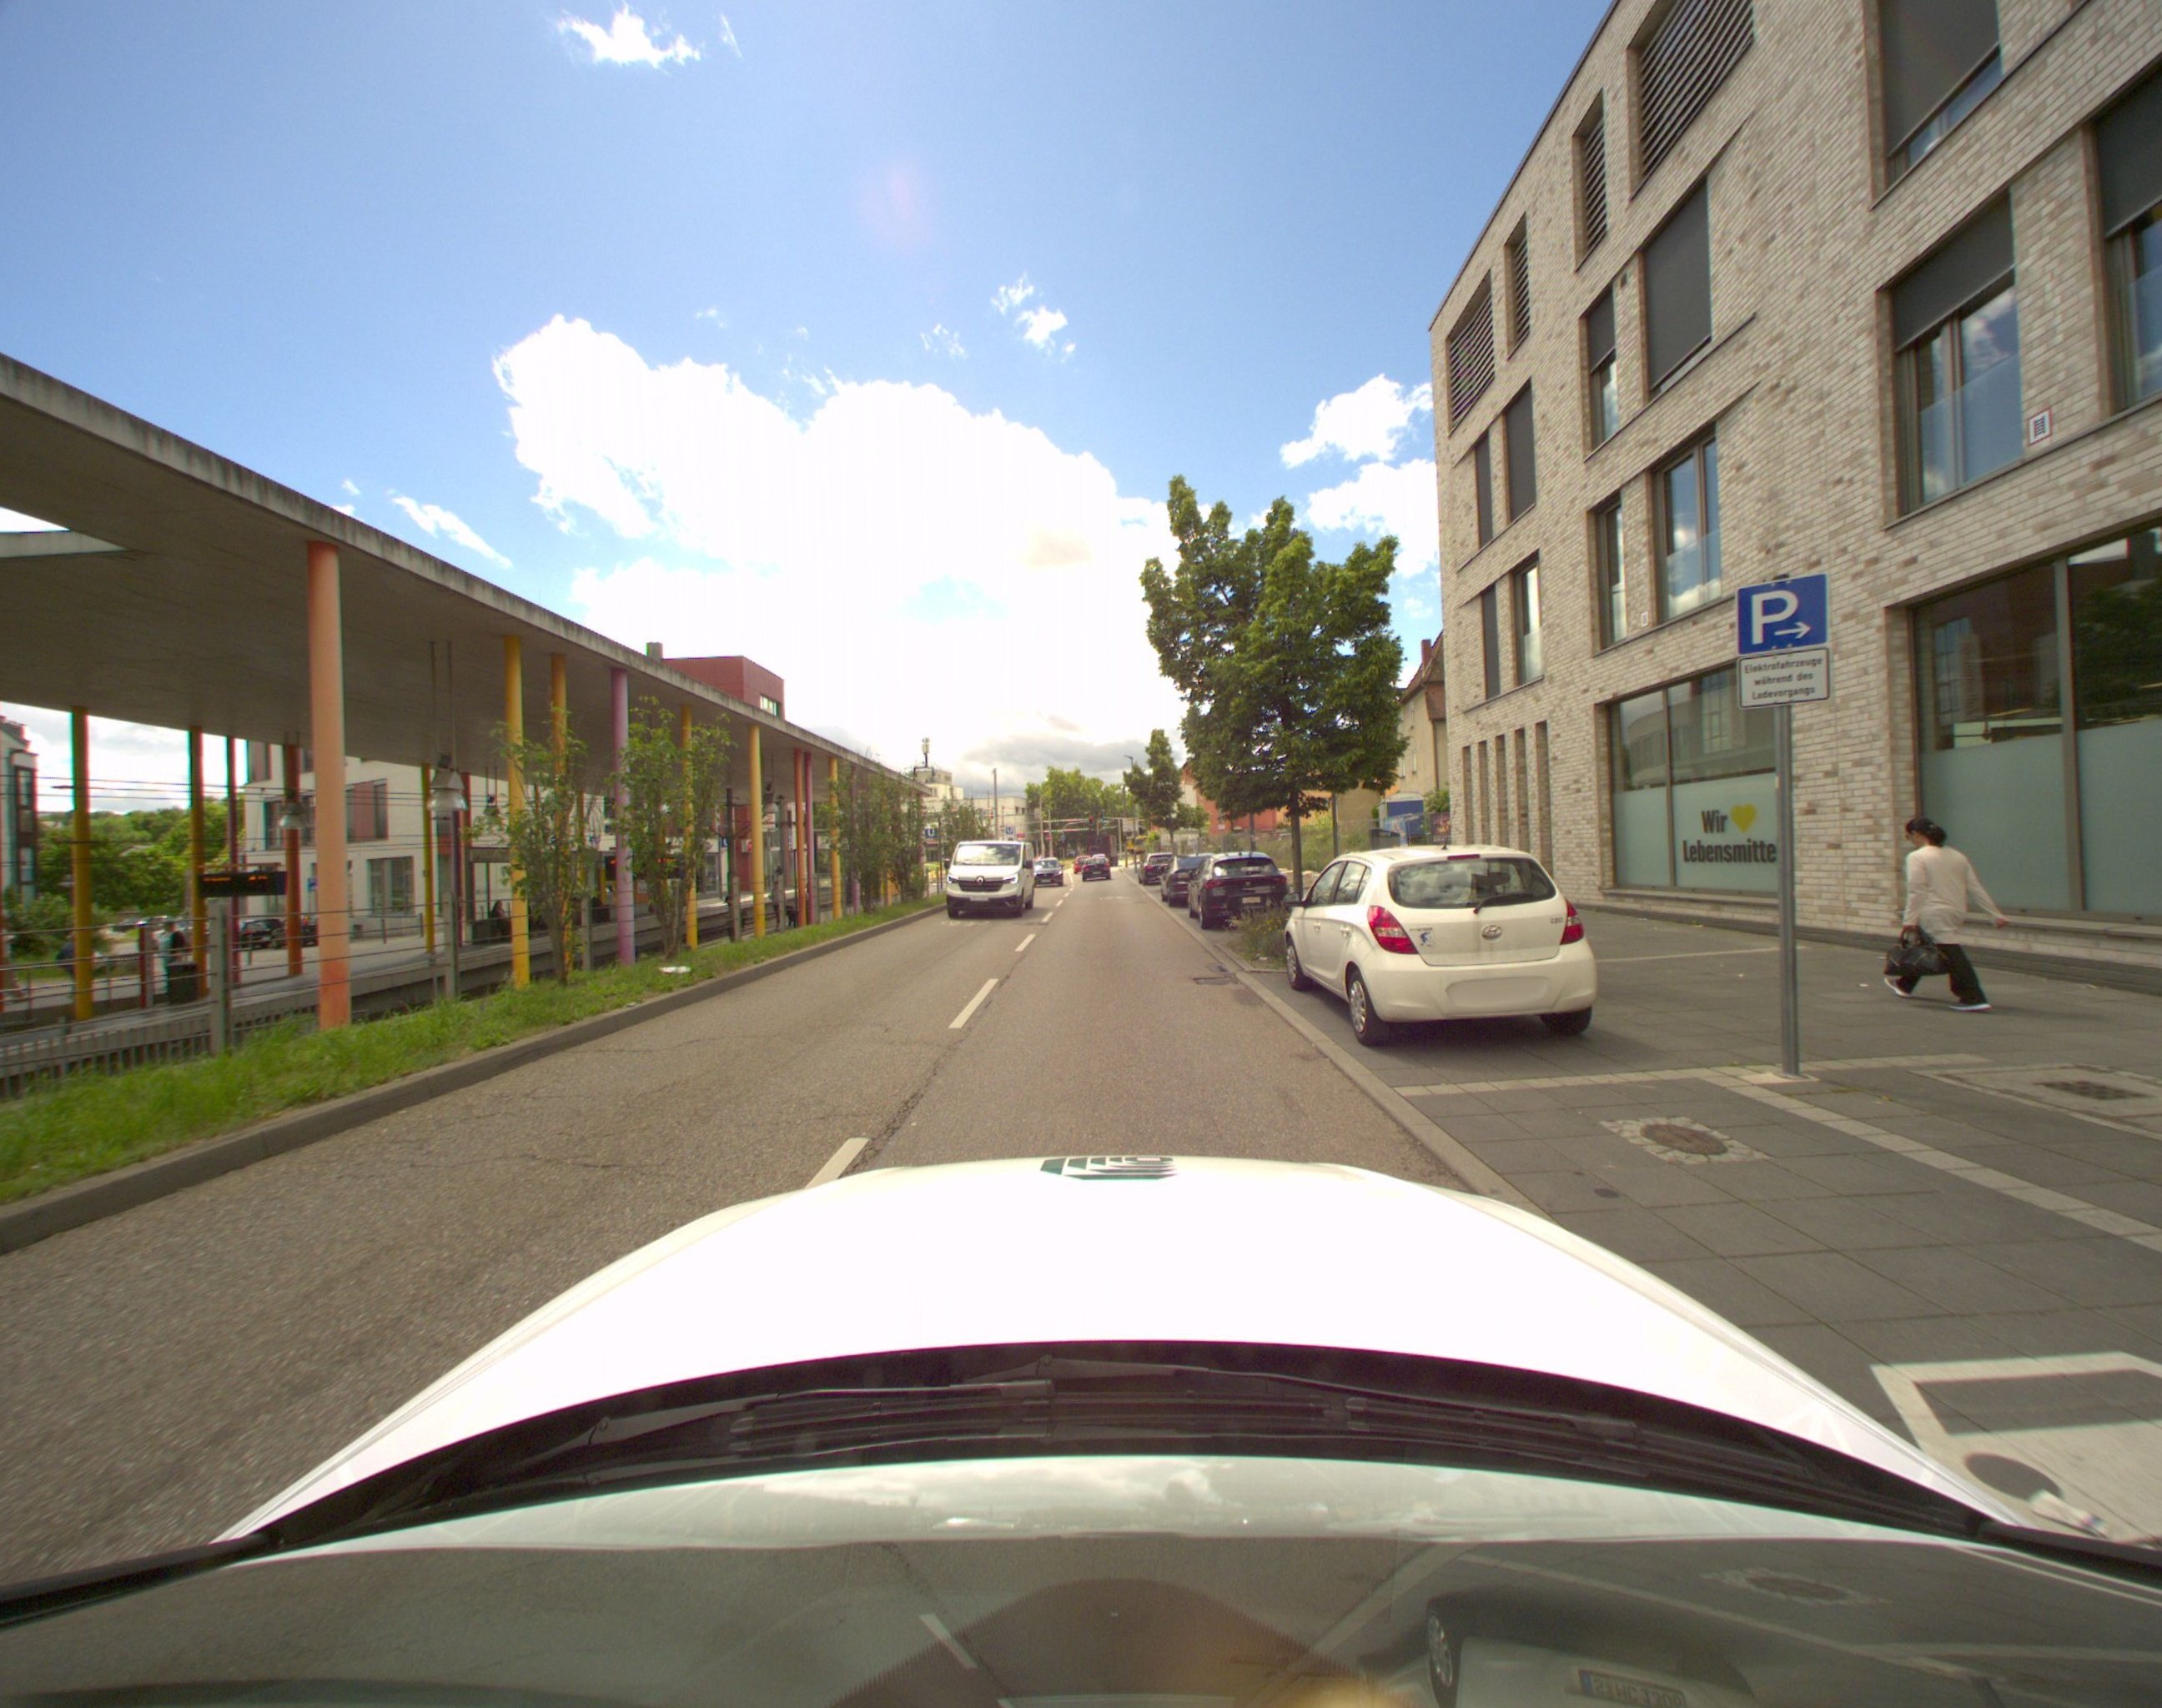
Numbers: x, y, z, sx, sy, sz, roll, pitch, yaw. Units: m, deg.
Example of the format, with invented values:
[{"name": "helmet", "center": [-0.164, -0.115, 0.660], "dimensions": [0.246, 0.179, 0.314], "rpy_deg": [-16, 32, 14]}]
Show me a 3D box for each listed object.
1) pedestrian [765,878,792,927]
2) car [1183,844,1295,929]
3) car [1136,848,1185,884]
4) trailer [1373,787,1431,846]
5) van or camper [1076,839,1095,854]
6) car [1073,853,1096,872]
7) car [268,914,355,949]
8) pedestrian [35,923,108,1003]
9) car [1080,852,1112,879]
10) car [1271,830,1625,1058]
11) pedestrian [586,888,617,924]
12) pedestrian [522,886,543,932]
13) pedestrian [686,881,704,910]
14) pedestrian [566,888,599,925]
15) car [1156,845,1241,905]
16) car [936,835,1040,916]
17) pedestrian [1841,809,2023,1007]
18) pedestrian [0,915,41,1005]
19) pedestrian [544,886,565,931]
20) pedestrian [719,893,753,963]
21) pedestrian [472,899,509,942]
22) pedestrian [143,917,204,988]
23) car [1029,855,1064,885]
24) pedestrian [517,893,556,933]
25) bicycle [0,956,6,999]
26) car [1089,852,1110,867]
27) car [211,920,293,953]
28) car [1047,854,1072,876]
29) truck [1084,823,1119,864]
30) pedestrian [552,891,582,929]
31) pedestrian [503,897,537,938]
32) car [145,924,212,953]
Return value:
[{"name": "pedestrian", "center": [-10.469, 1.672, 28.201], "dimensions": [0.627, 1.614, 0.636], "rpy_deg": [-1, 1, 2]}, {"name": "car", "center": [3.188, 0.599, 17.135], "dimensions": [1.685, 1.461, 4.150], "rpy_deg": [-4, 0, 3]}, {"name": "car", "center": [3.663, 0.520, 38.230], "dimensions": [1.776, 1.451, 4.475], "rpy_deg": [-4, 0, 0]}, {"name": "trailer", "center": [19.227, -2.159, 49.024], "dimensions": [2.386, 3.122, 6.186], "rpy_deg": [-4, 0, 15]}, {"name": "van or camper", "center": [1.005, -1.605, 167.790], "dimensions": [2.158, 2.805, 6.096], "rpy_deg": [-2, -2, 18]}, {"name": "car", "center": [0.262, 0.683, 67.672], "dimensions": [1.708, 1.393, 3.804], "rpy_deg": [-3, 0, -3]}, {"name": "car", "center": [-35.643, 3.573, 37.703], "dimensions": [3.672, 1.325, 1.657], "rpy_deg": [-6, -4, 24]}, {"name": "pedestrian", "center": [-21.976, 2.358, 17.742], "dimensions": [0.639, 1.662, 0.730], "rpy_deg": [-1, -2, 1]}, {"name": "car", "center": [0.874, 0.676, 49.892], "dimensions": [1.722, 1.456, 3.806], "rpy_deg": [-3, 0, -1]}, {"name": "car", "center": [2.978, 0.626, 7.546], "dimensions": [1.685, 1.483, 3.801], "rpy_deg": [-4, 0, 3]}, {"name": "pedestrian", "center": [-19.417, 2.110, 32.976], "dimensions": [0.819, 1.379, 0.702], "rpy_deg": [-1, 1, 2]}, {"name": "pedestrian", "center": [-22.215, 2.234, 33.003], "dimensions": [0.481, 1.820, 0.492], "rpy_deg": [-1, 1, -1]}, {"name": "pedestrian", "center": [-22.652, 2.414, 47.778], "dimensions": [0.654, 1.650, 0.843], "rpy_deg": [-1, -2, 1]}, {"name": "pedestrian", "center": [-19.538, 2.064, 31.945], "dimensions": [0.819, 1.379, 0.702], "rpy_deg": [-1, 1, 2]}, {"name": "car", "center": [3.284, 0.559, 23.572], "dimensions": [1.858, 1.451, 4.645], "rpy_deg": [-4, 0, 2]}, {"name": "car", "center": [-2.349, 0.520, 21.928], "dimensions": [1.996, 1.917, 5.067], "rpy_deg": [-1, 0, 2]}, {"name": "pedestrian", "center": [6.814, 0.409, 6.569], "dimensions": [0.603, 1.472, 0.793], "rpy_deg": [-4, 0, 10]}, {"name": "pedestrian", "center": [-23.355, 2.283, 17.601], "dimensions": [0.639, 1.883, 0.800], "rpy_deg": [-1, -2, 1]}, {"name": "pedestrian", "center": [-21.318, 2.203, 33.000], "dimensions": [0.481, 1.775, 0.492], "rpy_deg": [-1, 1, -1]}, {"name": "pedestrian", "center": [-9.278, 1.967, 21.915], "dimensions": [0.584, 1.830, 0.710], "rpy_deg": [-1, -2, 3]}, {"name": "pedestrian", "center": [-19.945, 2.231, 27.533], "dimensions": [0.683, 1.379, 0.705], "rpy_deg": [-1, 1, 2]}, {"name": "pedestrian", "center": [-22.399, 2.415, 20.110], "dimensions": [0.639, 1.662, 0.730], "rpy_deg": [-1, -2, 1]}, {"name": "car", "center": [-1.823, 0.839, 44.211], "dimensions": [1.719, 1.521, 4.253], "rpy_deg": [0, 0, -1]}, {"name": "pedestrian", "center": [-19.915, 2.163, 29.795], "dimensions": [0.923, 1.379, 0.702], "rpy_deg": [-1, 1, 2]}, {"name": "bicycle", "center": [-24.909, 2.797, 17.845], "dimensions": [0.481, 0.963, 1.614], "rpy_deg": [-1, -2, 4]}, {"name": "car", "center": [1.871, 0.591, 84.402], "dimensions": [1.883, 1.465, 4.066], "rpy_deg": [-3, -1, -1]}, {"name": "car", "center": [-40.496, 4.007, 39.769], "dimensions": [3.672, 1.325, 1.657], "rpy_deg": [-6, -4, 24]}, {"name": "car", "center": [-1.631, 0.813, 61.119], "dimensions": [1.766, 1.508, 3.997], "rpy_deg": [-3, 0, -2]}, {"name": "truck", "center": [2.529, -1.151, 97.045], "dimensions": [3.187, 4.536, 9.044], "rpy_deg": [-1, -1, 6]}, {"name": "pedestrian", "center": [-19.585, 2.128, 31.019], "dimensions": [0.649, 1.379, 0.702], "rpy_deg": [-1, 1, 2]}, {"name": "pedestrian", "center": [-19.923, 2.246, 28.938], "dimensions": [0.649, 1.379, 0.702], "rpy_deg": [-1, 1, 2]}, {"name": "car", "center": [-49.192, 4.625, 44.370], "dimensions": [3.670, 1.325, 1.657], "rpy_deg": [-6, -4, 29]}]
